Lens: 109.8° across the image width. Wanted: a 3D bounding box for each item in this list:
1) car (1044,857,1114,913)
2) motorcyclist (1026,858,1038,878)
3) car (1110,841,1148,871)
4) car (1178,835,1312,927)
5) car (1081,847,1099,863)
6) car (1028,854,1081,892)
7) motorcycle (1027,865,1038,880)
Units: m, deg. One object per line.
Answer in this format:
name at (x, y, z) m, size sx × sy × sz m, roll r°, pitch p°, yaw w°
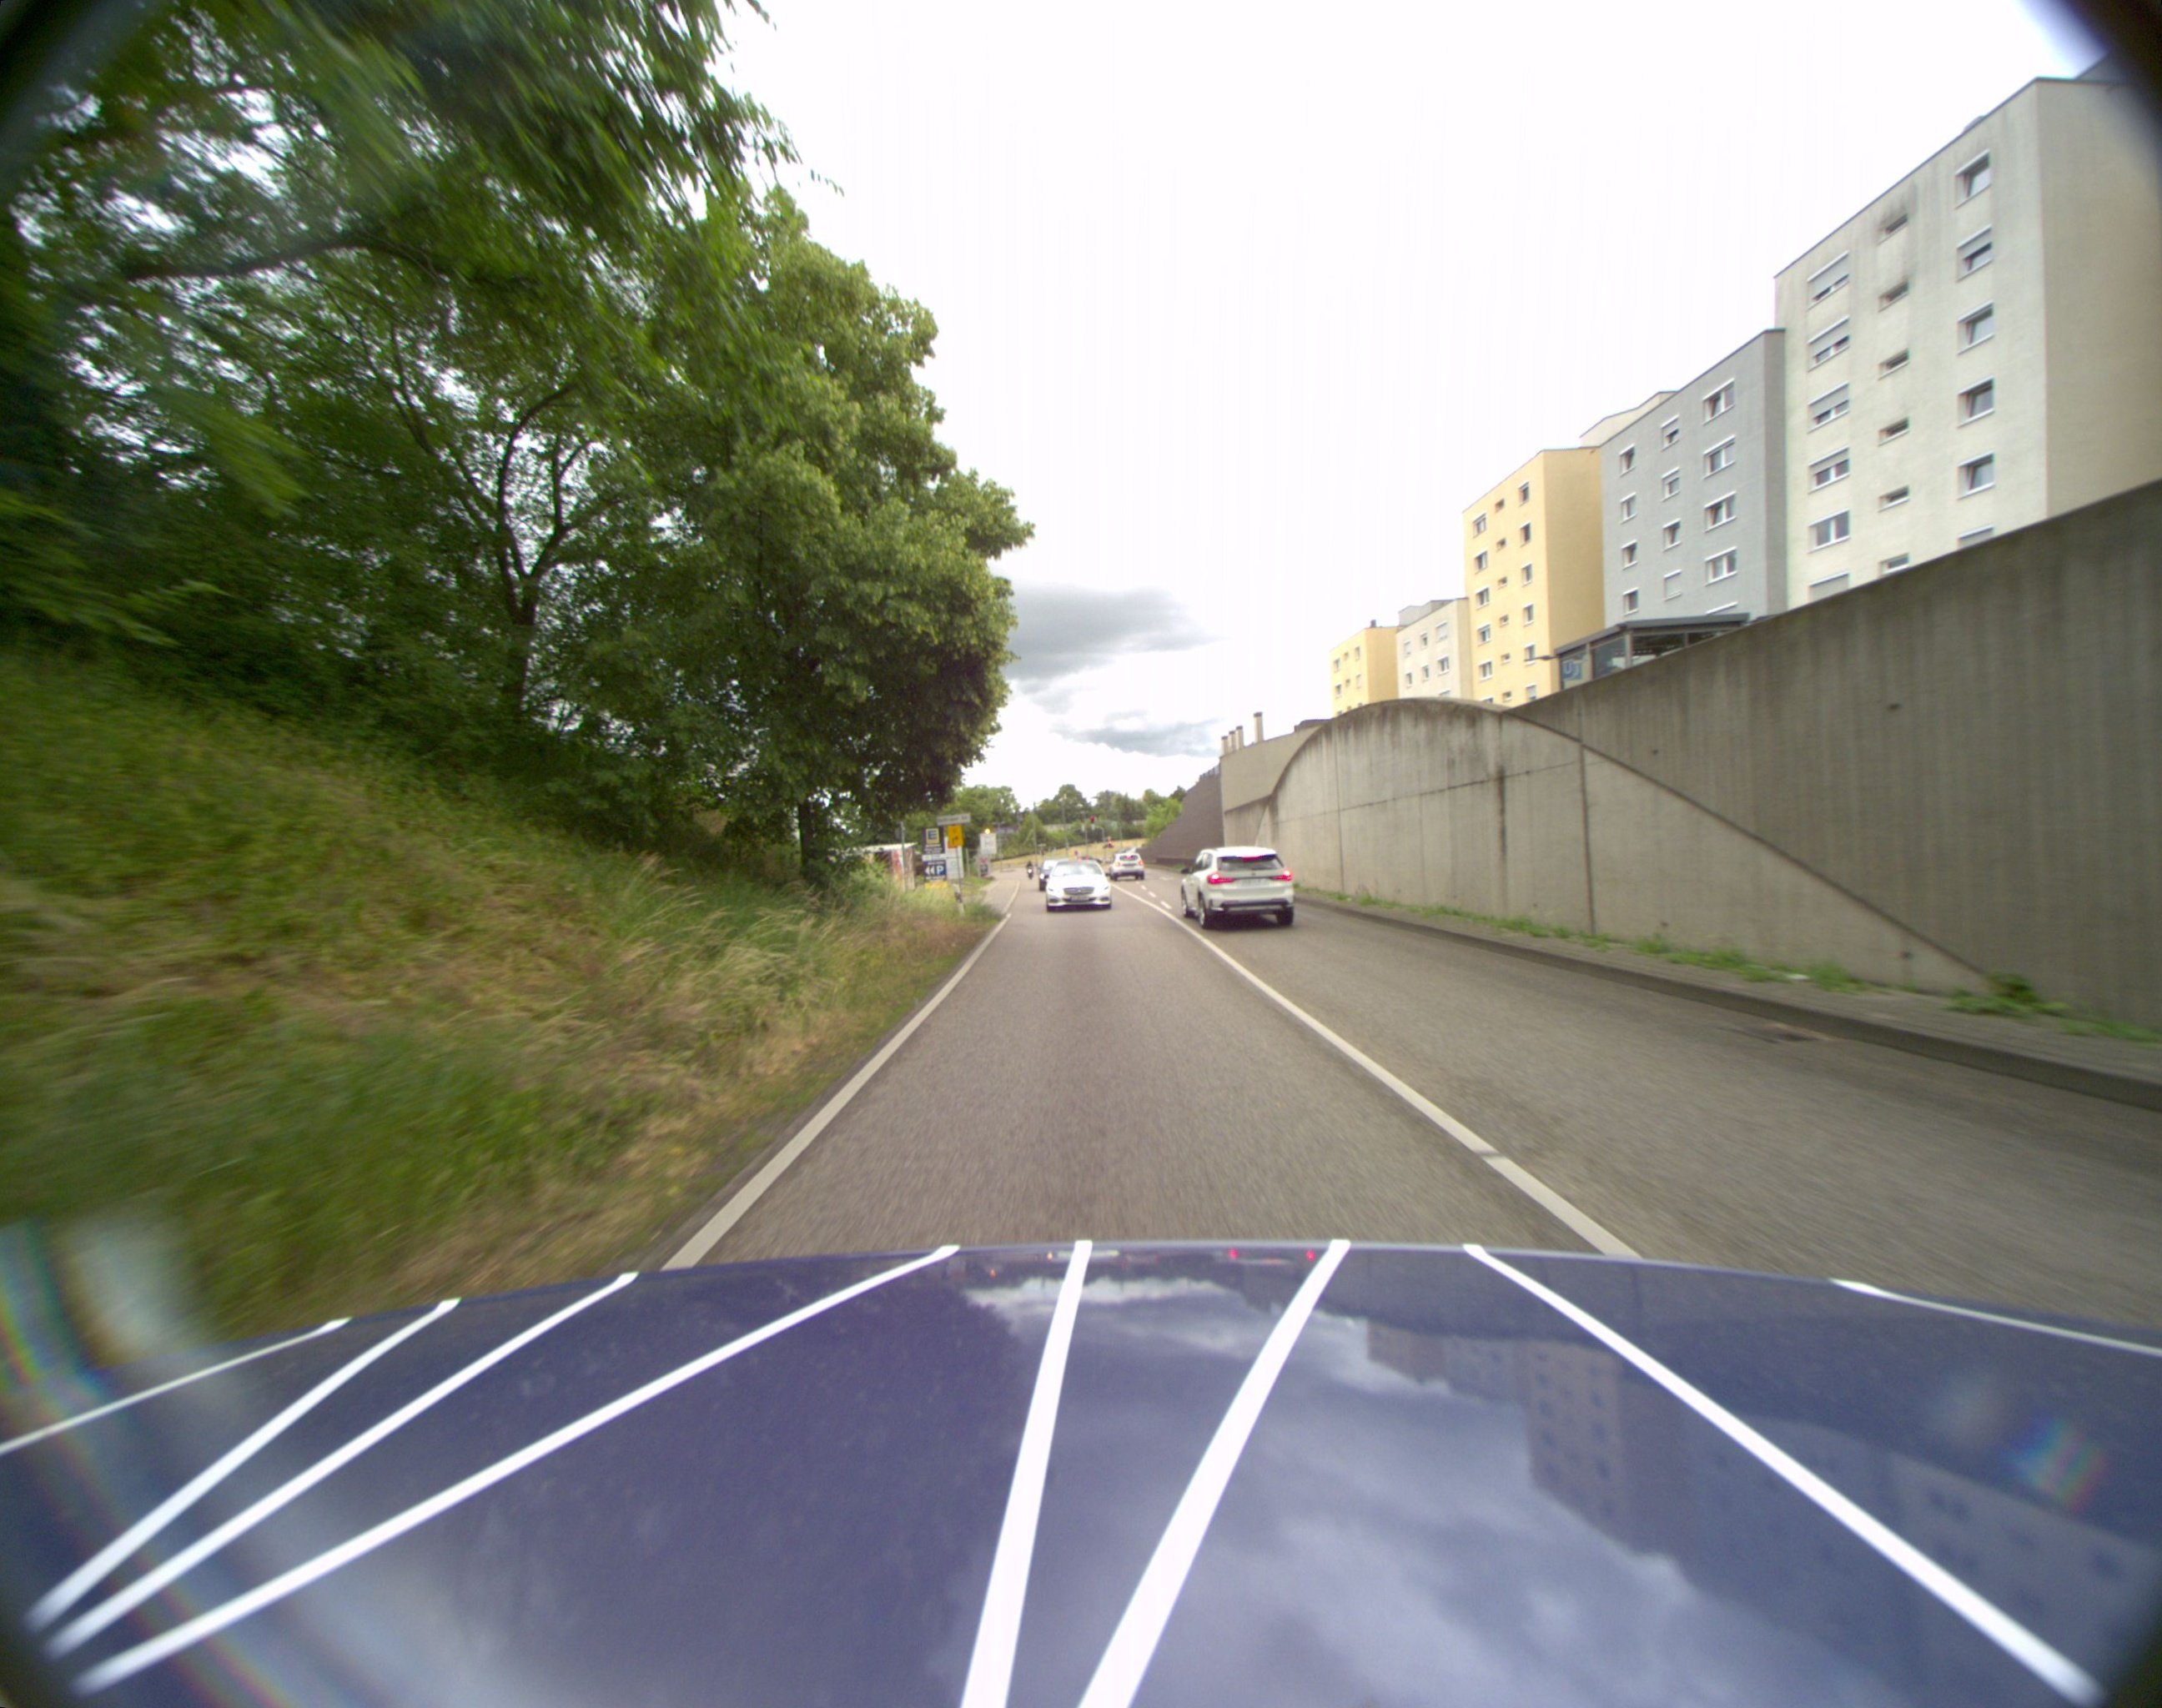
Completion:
car at (-0.097, 0.880, 23.217) m, size 1.905 × 1.471 × 4.093 m, roll -2°, pitch 0°, yaw -1°
motorcyclist at (-4.139, 1.146, 64.243) m, size 0.883 × 1.596 × 1.243 m, roll -6°, pitch 2°, yaw -4°
car at (2.812, 0.113, 45.394) m, size 1.866 × 1.622 × 4.207 m, roll -3°, pitch 0°, yaw -1°
car at (3.329, 0.459, 16.322) m, size 1.895 × 1.623 × 4.425 m, roll -3°, pitch 1°, yaw 1°
car at (0.986, 0.128, 82.884) m, size 1.548 × 1.514 × 2.913 m, roll -6°, pitch 1°, yaw -4°
car at (-1.348, 0.845, 36.657) m, size 1.760 × 1.532 × 3.995 m, roll -6°, pitch 2°, yaw -12°
motorcycle at (-4.106, 1.566, 64.253) m, size 0.883 × 1.098 × 2.359 m, roll -6°, pitch 1°, yaw -4°
